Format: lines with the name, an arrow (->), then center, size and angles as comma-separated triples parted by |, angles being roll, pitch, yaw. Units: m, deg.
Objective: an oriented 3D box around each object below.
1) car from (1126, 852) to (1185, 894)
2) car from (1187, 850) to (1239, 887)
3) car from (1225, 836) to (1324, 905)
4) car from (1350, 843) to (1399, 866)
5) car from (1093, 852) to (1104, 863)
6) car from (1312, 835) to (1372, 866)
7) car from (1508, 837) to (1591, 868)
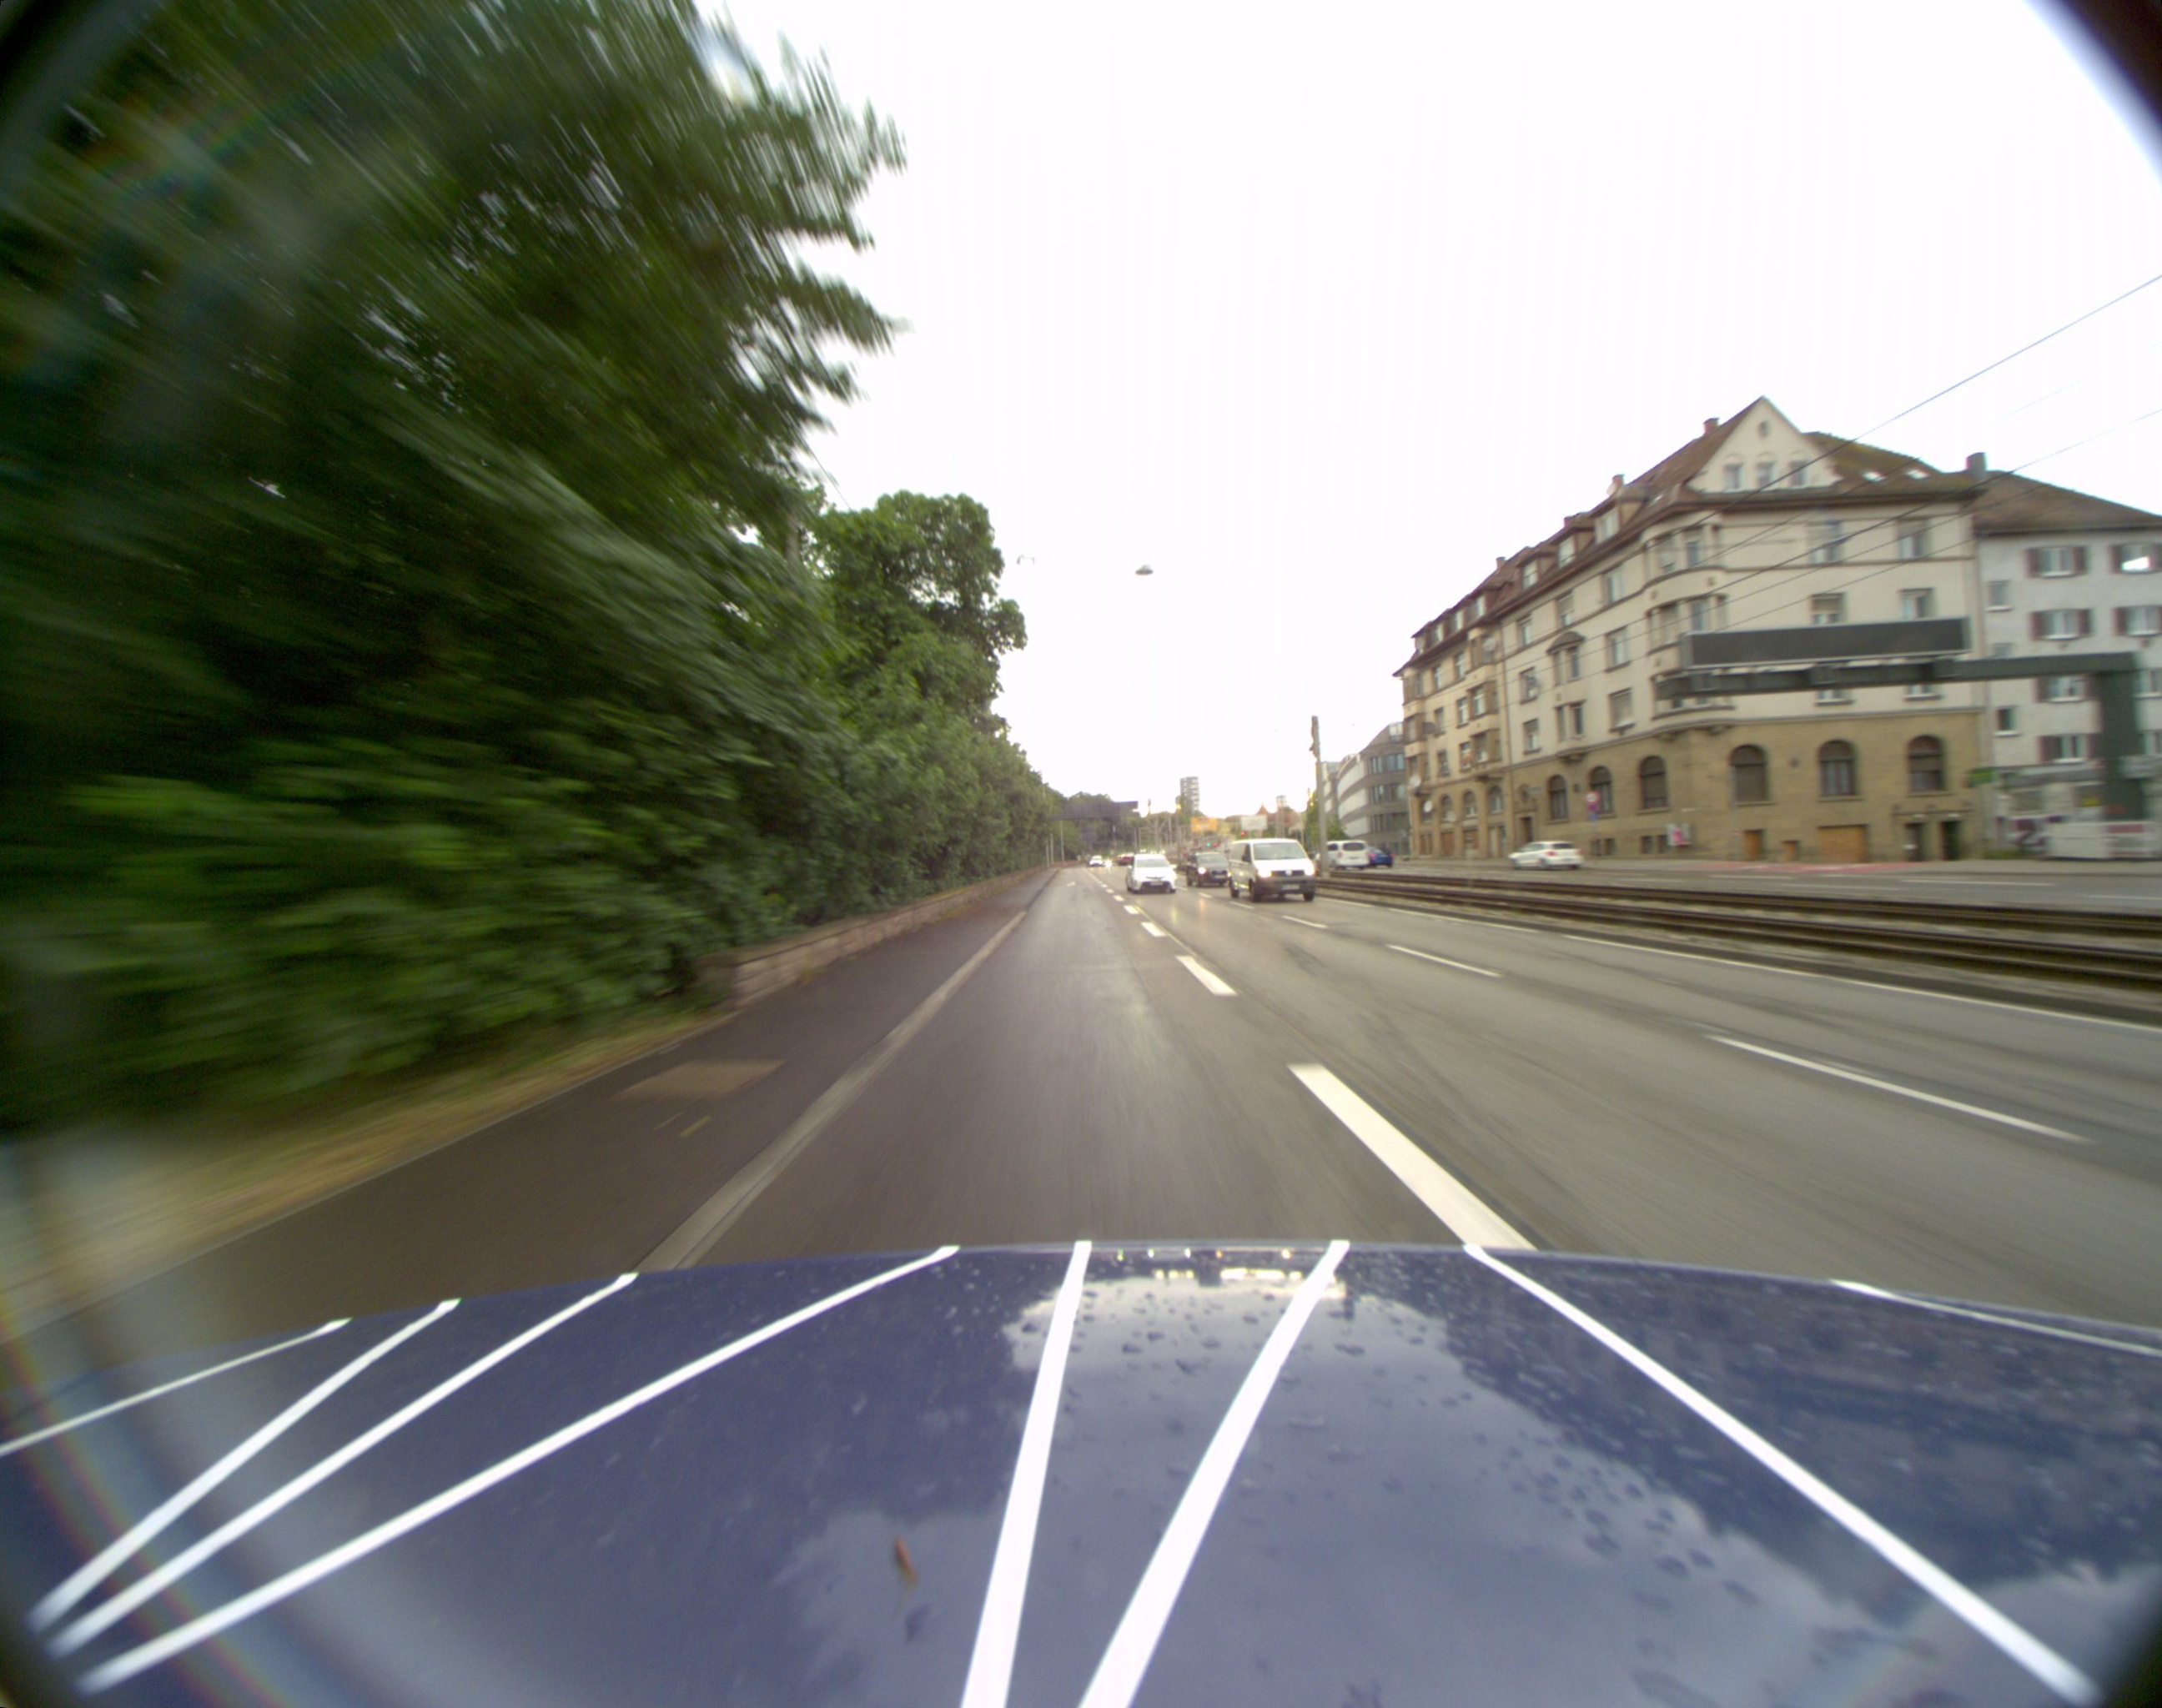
car -> 3.076, 0.756, 32.139 | 1.982, 1.564, 4.318 | -2, 0, 0
car -> 6.082, 0.658, 35.387 | 1.708, 1.564, 3.896 | -2, 0, 0
car -> 6.103, 0.472, 24.538 | 1.914, 1.947, 4.717 | -2, 0, 0
car -> 20.255, 0.031, 52.587 | 1.610, 1.425, 4.331 | -3, 0, 0
car -> 2.822, 0.555, 124.034 | 1.710, 1.585, 4.000 | -3, 0, 0
car -> 16.941, -0.210, 49.551 | 1.999, 1.863, 5.192 | -3, 0, -1
car -> 23.252, -0.069, 37.859 | 1.684, 1.396, 3.851 | -2, 0, 0
